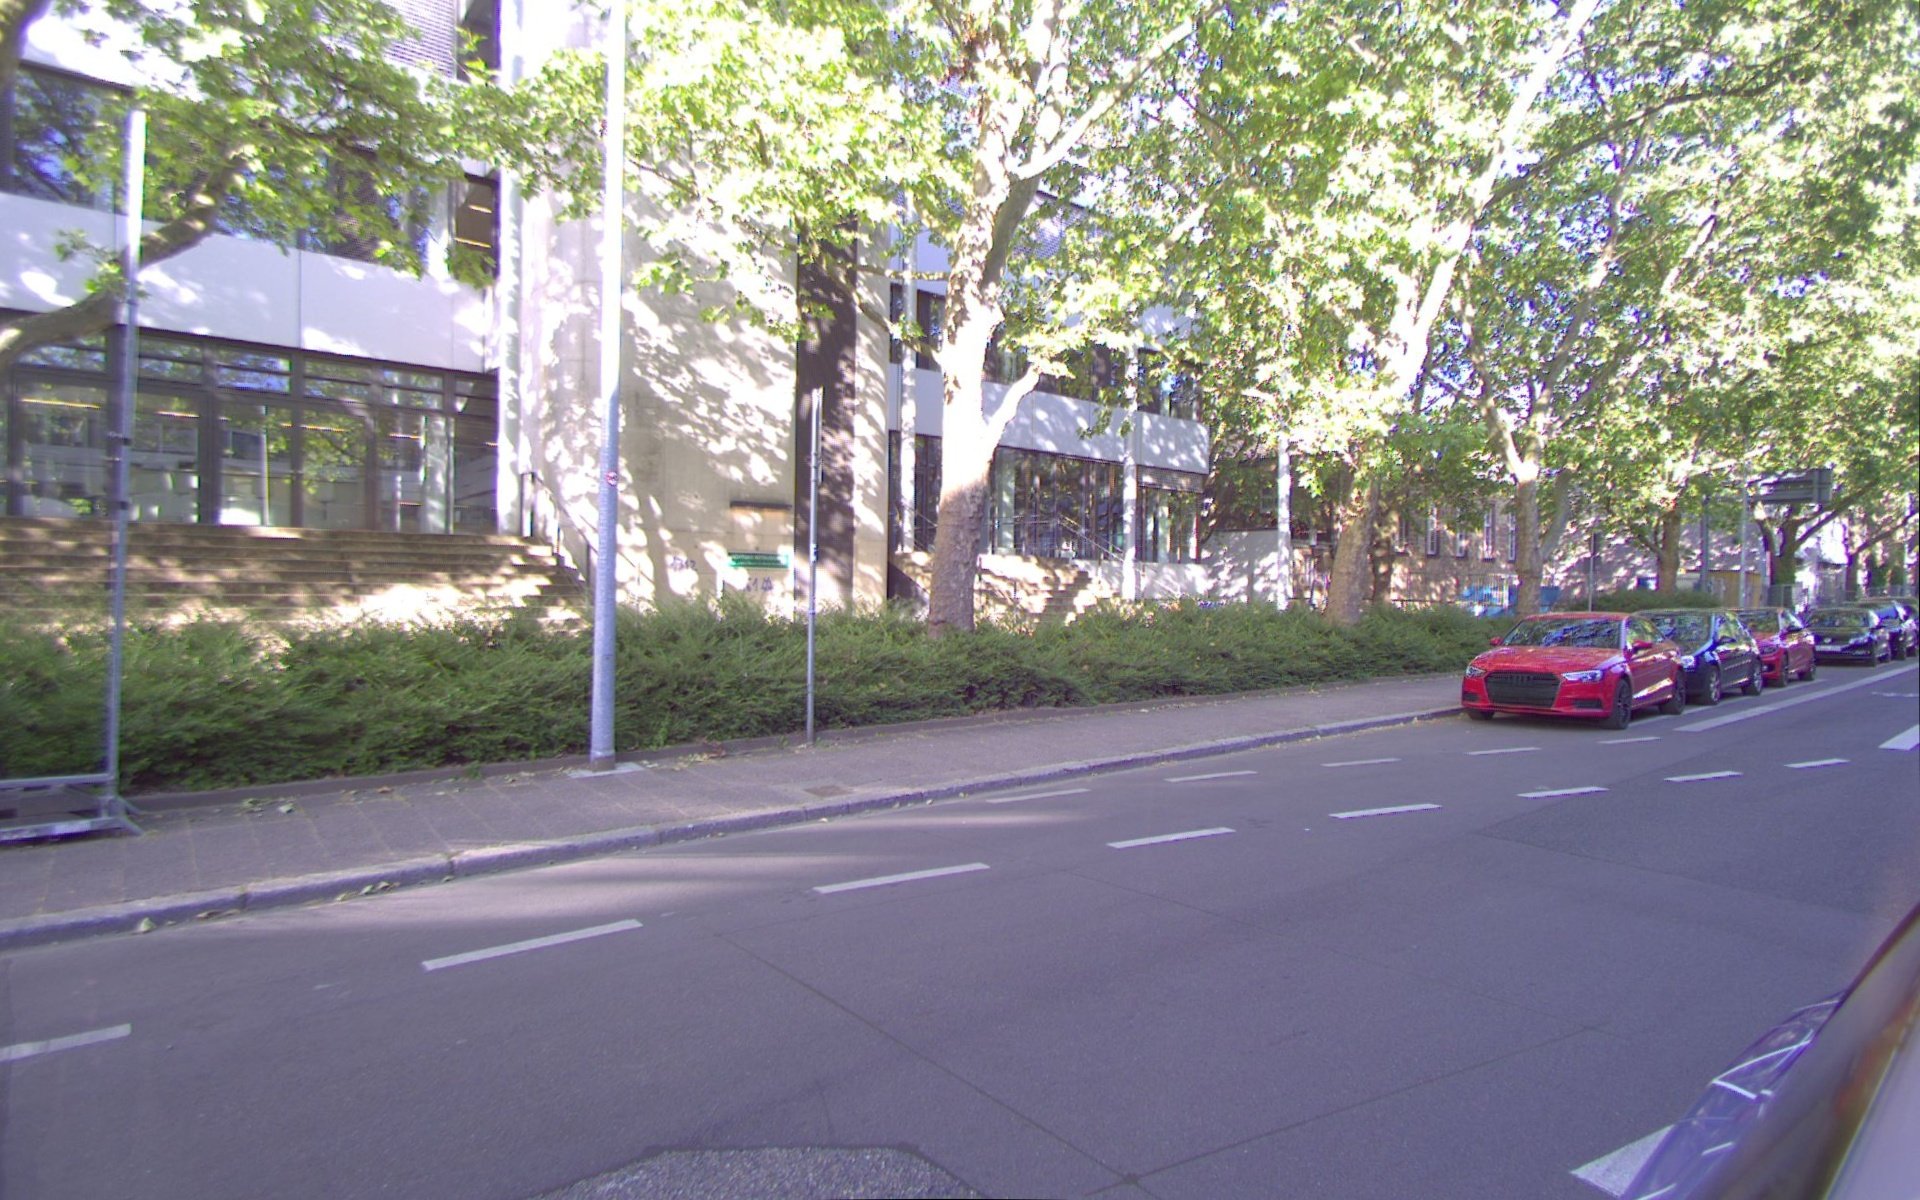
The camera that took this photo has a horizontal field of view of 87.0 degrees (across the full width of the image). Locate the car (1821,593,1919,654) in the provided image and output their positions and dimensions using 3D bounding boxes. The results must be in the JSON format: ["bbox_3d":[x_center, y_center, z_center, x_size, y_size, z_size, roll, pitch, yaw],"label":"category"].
[{"bbox_3d":[26.530,0.610,29.189,4.070,1.621,1.997,-1,0,-41],"label":"car"}]

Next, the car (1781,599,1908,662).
[{"bbox_3d":[22.802,0.722,26.065,3.527,1.474,1.997,-1,1,-41],"label":"car"}]

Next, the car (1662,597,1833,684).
[{"bbox_3d":[15.652,0.718,20.059,3.762,1.517,1.997,-1,1,-41],"label":"car"}]

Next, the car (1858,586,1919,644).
[{"bbox_3d":[31.266,0.451,33.315,4.493,1.809,1.997,-1,0,-41],"label":"car"}]

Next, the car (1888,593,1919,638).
[{"bbox_3d":[36.028,0.533,37.461,4.070,1.585,1.997,-1,1,-41],"label":"car"}]

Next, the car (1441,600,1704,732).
[{"bbox_3d":[8.260,0.752,13.527,3.930,1.443,1.906,-1,1,-41],"label":"car"}]

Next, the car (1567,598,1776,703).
[{"bbox_3d":[11.690,0.730,16.575,3.581,1.478,1.997,-1,1,-41],"label":"car"}]

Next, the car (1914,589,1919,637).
[{"bbox_3d":[39.603,0.487,40.273,3.930,1.872,1.997,-1,0,-41],"label":"car"}]
